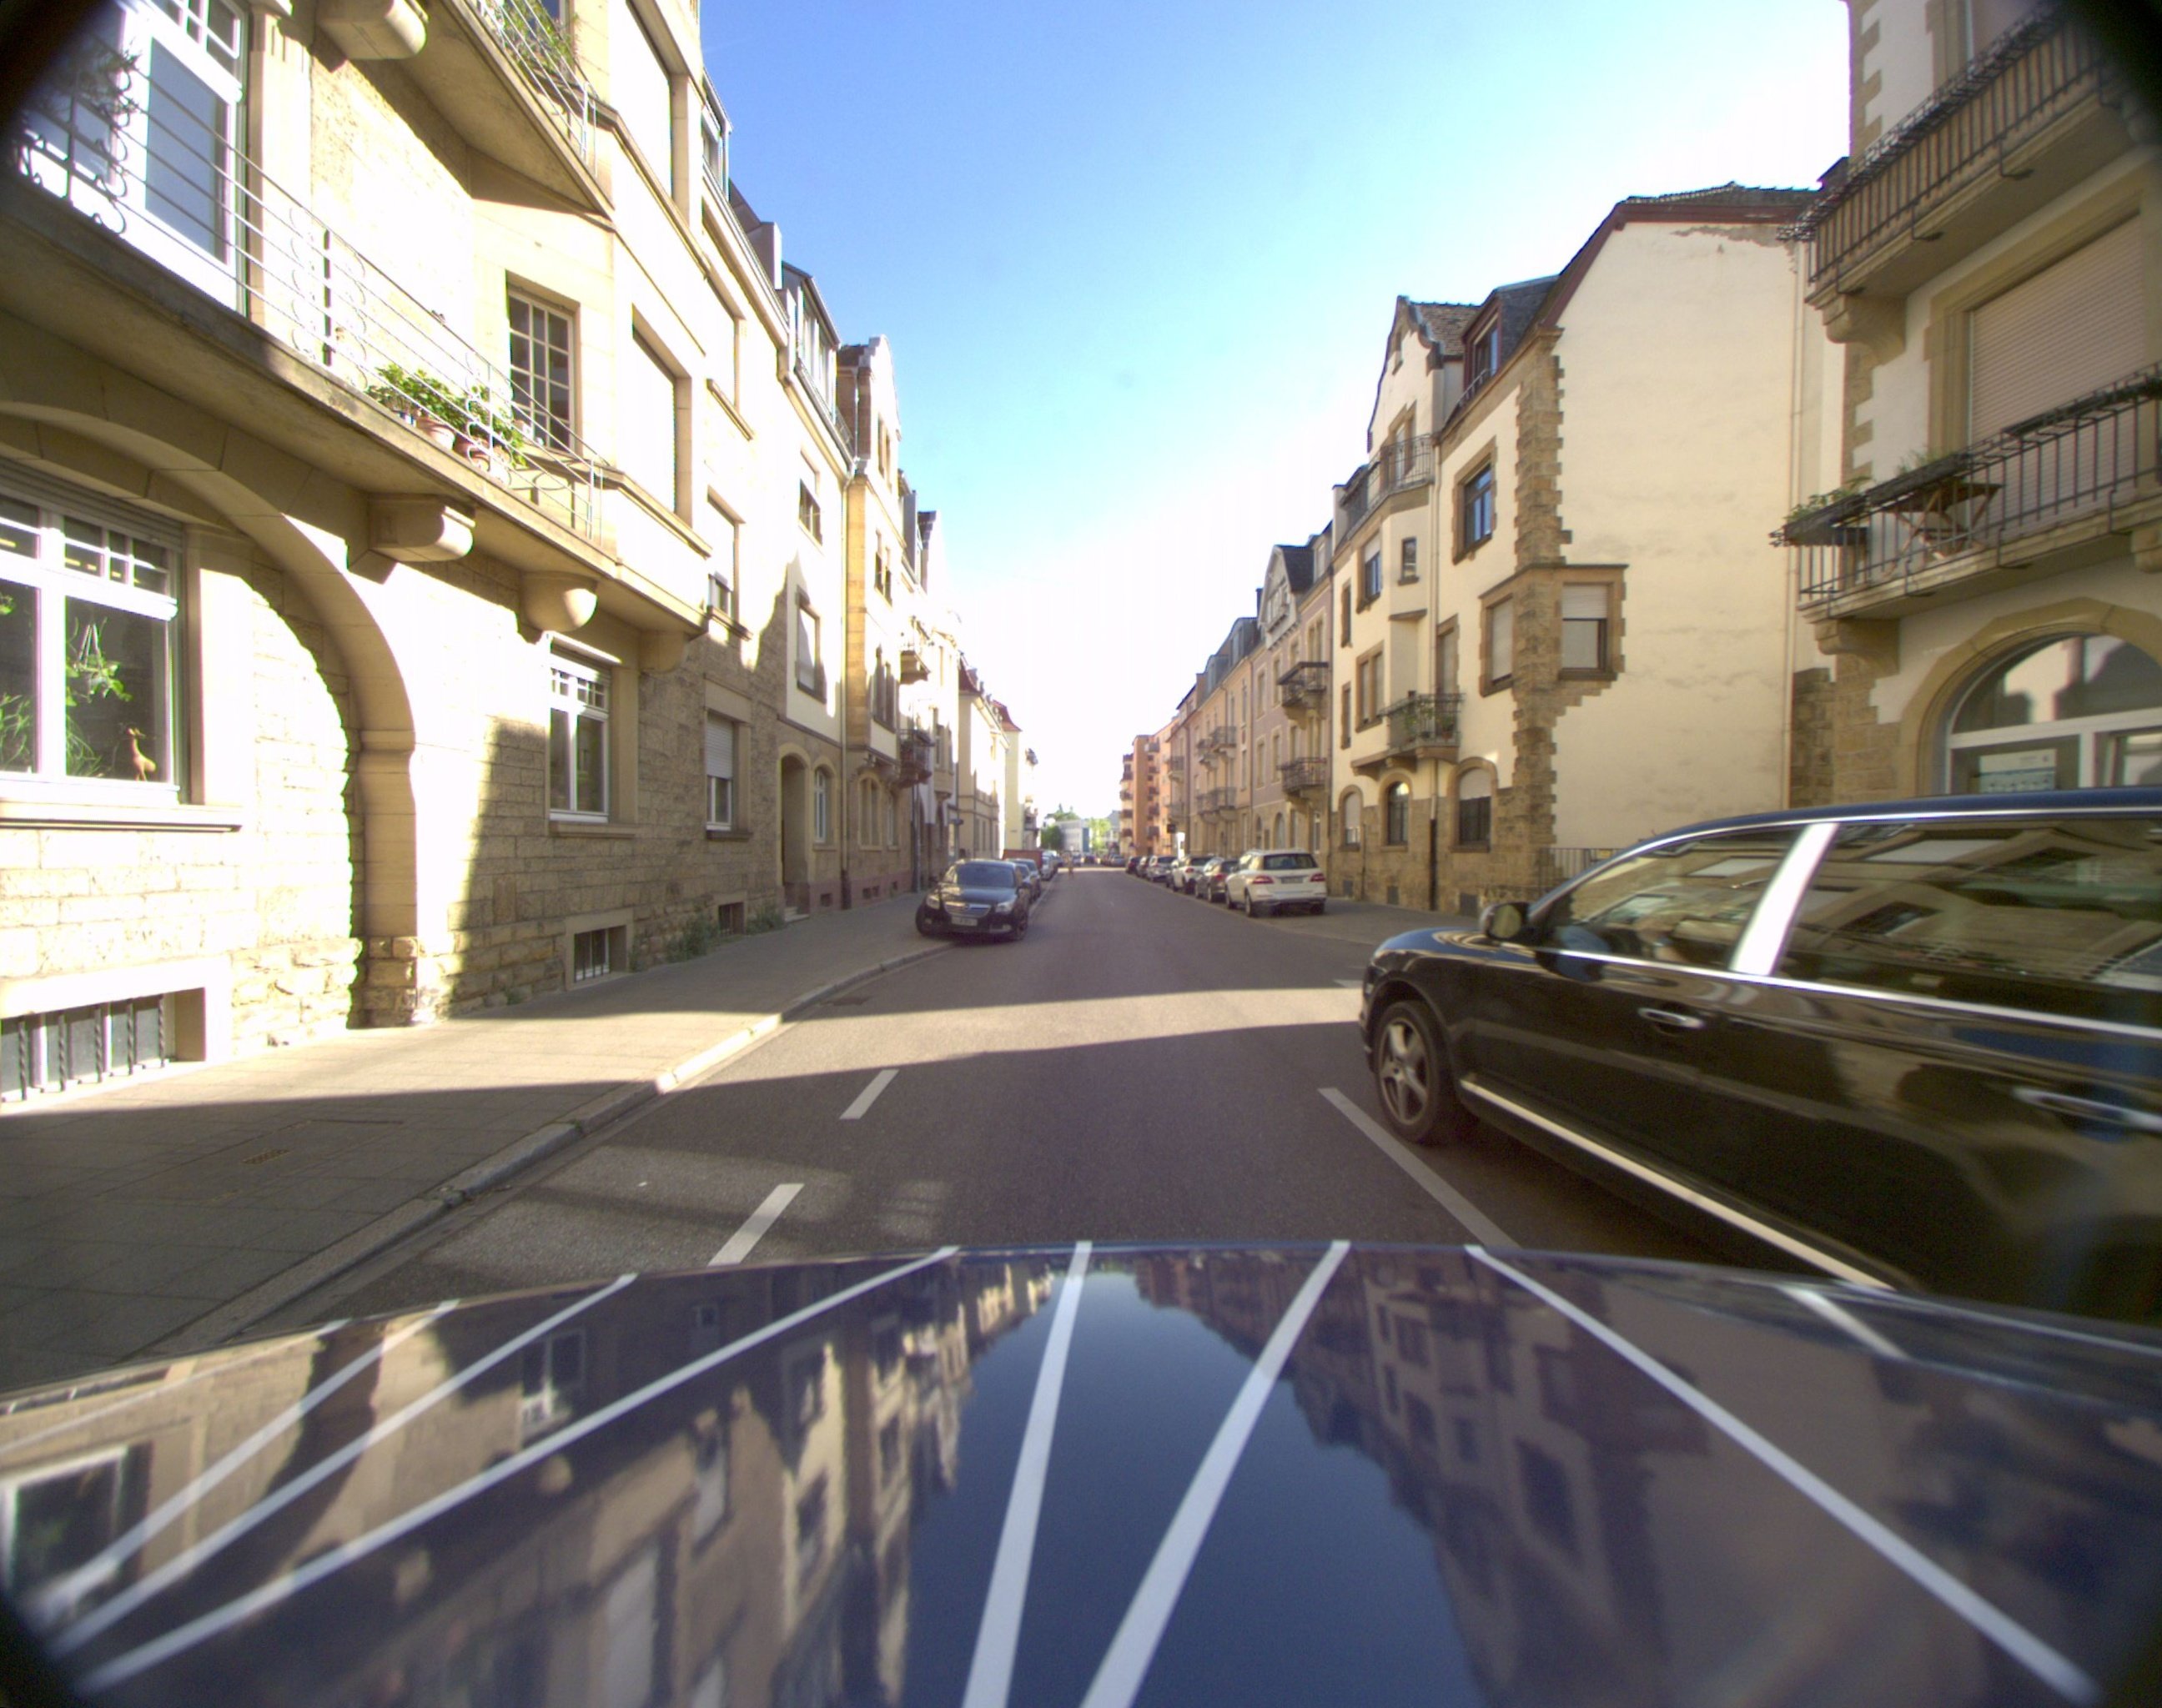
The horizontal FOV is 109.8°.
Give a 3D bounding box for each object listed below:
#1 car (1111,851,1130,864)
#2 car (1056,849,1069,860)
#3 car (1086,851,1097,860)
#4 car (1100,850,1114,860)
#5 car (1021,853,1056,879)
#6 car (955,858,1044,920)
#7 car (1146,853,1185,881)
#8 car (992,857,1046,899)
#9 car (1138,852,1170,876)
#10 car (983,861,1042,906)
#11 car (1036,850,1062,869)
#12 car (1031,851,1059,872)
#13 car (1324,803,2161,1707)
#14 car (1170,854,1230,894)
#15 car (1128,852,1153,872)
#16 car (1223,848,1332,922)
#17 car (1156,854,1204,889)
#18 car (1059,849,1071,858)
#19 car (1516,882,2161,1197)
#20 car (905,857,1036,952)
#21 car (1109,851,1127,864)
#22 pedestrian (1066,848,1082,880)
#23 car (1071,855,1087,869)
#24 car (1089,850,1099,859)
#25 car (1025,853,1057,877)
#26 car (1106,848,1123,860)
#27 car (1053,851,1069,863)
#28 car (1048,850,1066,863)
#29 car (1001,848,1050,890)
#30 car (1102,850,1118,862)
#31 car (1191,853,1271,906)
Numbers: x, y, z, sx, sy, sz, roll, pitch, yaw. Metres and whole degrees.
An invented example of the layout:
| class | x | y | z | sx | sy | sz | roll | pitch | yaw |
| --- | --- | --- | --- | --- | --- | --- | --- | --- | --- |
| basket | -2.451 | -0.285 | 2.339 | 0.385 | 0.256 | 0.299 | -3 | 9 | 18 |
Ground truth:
| class | x | y | z | sx | sy | sz | roll | pitch | yaw |
| --- | --- | --- | --- | --- | --- | --- | --- | --- | --- |
| car | 4.679 | 0.407 | 91.388 | 2.005 | 1.500 | 4.320 | 1 | 1 | -1 |
| car | -2.935 | 0.066 | 123.333 | 2.005 | 1.722 | 4.320 | 1 | 1 | -1 |
| car | 1.598 | 0.250 | 118.476 | 1.656 | 1.449 | 3.642 | 0 | 1 | -1 |
| car | 3.965 | 0.185 | 116.756 | 2.005 | 1.500 | 4.320 | 1 | 1 | -1 |
| car | -2.648 | 0.717 | 47.864 | 2.005 | 1.500 | 4.320 | 1 | 1 | -1 |
| car | -2.093 | 0.874 | 20.796 | 2.005 | 1.499 | 4.321 | 1 | 0 | -1 |
| car | 5.025 | 0.734 | 45.829 | 1.890 | 1.500 | 4.320 | -2 | 1 | 1 |
| car | -2.381 | 0.891 | 30.117 | 1.824 | 1.415 | 4.320 | 1 | 1 | -1 |
| car | 4.996 | 0.668 | 52.347 | 1.809 | 1.500 | 4.003 | -2 | 1 | 1 |
| car | -2.230 | 0.927 | 25.375 | 1.661 | 1.272 | 3.729 | 1 | 1 | -1 |
| car | -2.667 | 0.451 | 64.496 | 2.005 | 1.500 | 4.320 | 1 | 1 | -1 |
| car | -2.740 | 0.535 | 58.662 | 2.005 | 1.500 | 4.320 | 1 | 1 | -1 |
| car | 2.765 | 0.791 | 2.431 | 2.079 | 1.684 | 4.706 | 2 | 0 | -5 |
| car | 4.988 | 0.795 | 32.362 | 1.890 | 1.500 | 4.320 | -2 | 1 | 1 |
| car | 4.898 | 0.641 | 62.969 | 1.793 | 1.500 | 4.320 | -2 | 1 | 1 |
| car | 5.199 | 0.753 | 20.672 | 1.890 | 1.717 | 4.211 | -2 | 1 | 1 |
| car | 4.860 | 0.817 | 37.803 | 1.857 | 1.491 | 4.318 | -2 | 1 | 1 |
| car | -2.851 | -0.071 | 136.653 | 2.005 | 1.500 | 4.320 | 1 | 1 | -1 |
| car | 5.115 | 1.016 | 5.695 | 1.656 | 1.449 | 3.643 | 2 | 0 | 2 |
| car | -2.034 | 0.882 | 15.248 | 2.024 | 1.500 | 4.111 | 2 | 1 | -1 |
| car | 4.629 | 0.390 | 96.202 | 2.005 | 1.500 | 4.320 | 1 | 1 | -1 |
| pedestrian | -0.452 | 0.641 | 50.064 | 0.952 | 2.002 | 1.066 | -2 | 1 | -2 |
| car | -0.248 | 0.982 | 94.920 | 2.005 | 1.500 | 4.320 | 1 | 1 | -1 |
| car | 2.231 | 0.109 | 129.106 | 1.656 | 1.449 | 3.642 | 0 | 1 | -1 |
| car | -2.744 | 0.737 | 52.638 | 2.005 | 1.500 | 4.320 | 1 | 1 | -1 |
| car | 4.524 | 0.001 | 101.954 | 2.005 | 1.500 | 4.320 | 1 | 1 | -1 |
| car | -2.577 | 0.429 | 99.949 | 2.005 | 1.500 | 4.320 | 1 | 1 | -1 |
| car | -2.839 | 0.265 | 88.976 | 2.005 | 1.500 | 4.320 | 1 | 1 | -1 |
| car | -2.555 | 0.651 | 35.747 | 2.005 | 1.828 | 4.320 | 1 | 1 | -1 |
| car | 4.118 | 0.286 | 107.248 | 2.005 | 1.500 | 4.320 | 1 | 1 | -1 |
| car | 5.127 | 0.821 | 26.541 | 1.890 | 1.500 | 4.320 | -4 | 1 | 1 |
